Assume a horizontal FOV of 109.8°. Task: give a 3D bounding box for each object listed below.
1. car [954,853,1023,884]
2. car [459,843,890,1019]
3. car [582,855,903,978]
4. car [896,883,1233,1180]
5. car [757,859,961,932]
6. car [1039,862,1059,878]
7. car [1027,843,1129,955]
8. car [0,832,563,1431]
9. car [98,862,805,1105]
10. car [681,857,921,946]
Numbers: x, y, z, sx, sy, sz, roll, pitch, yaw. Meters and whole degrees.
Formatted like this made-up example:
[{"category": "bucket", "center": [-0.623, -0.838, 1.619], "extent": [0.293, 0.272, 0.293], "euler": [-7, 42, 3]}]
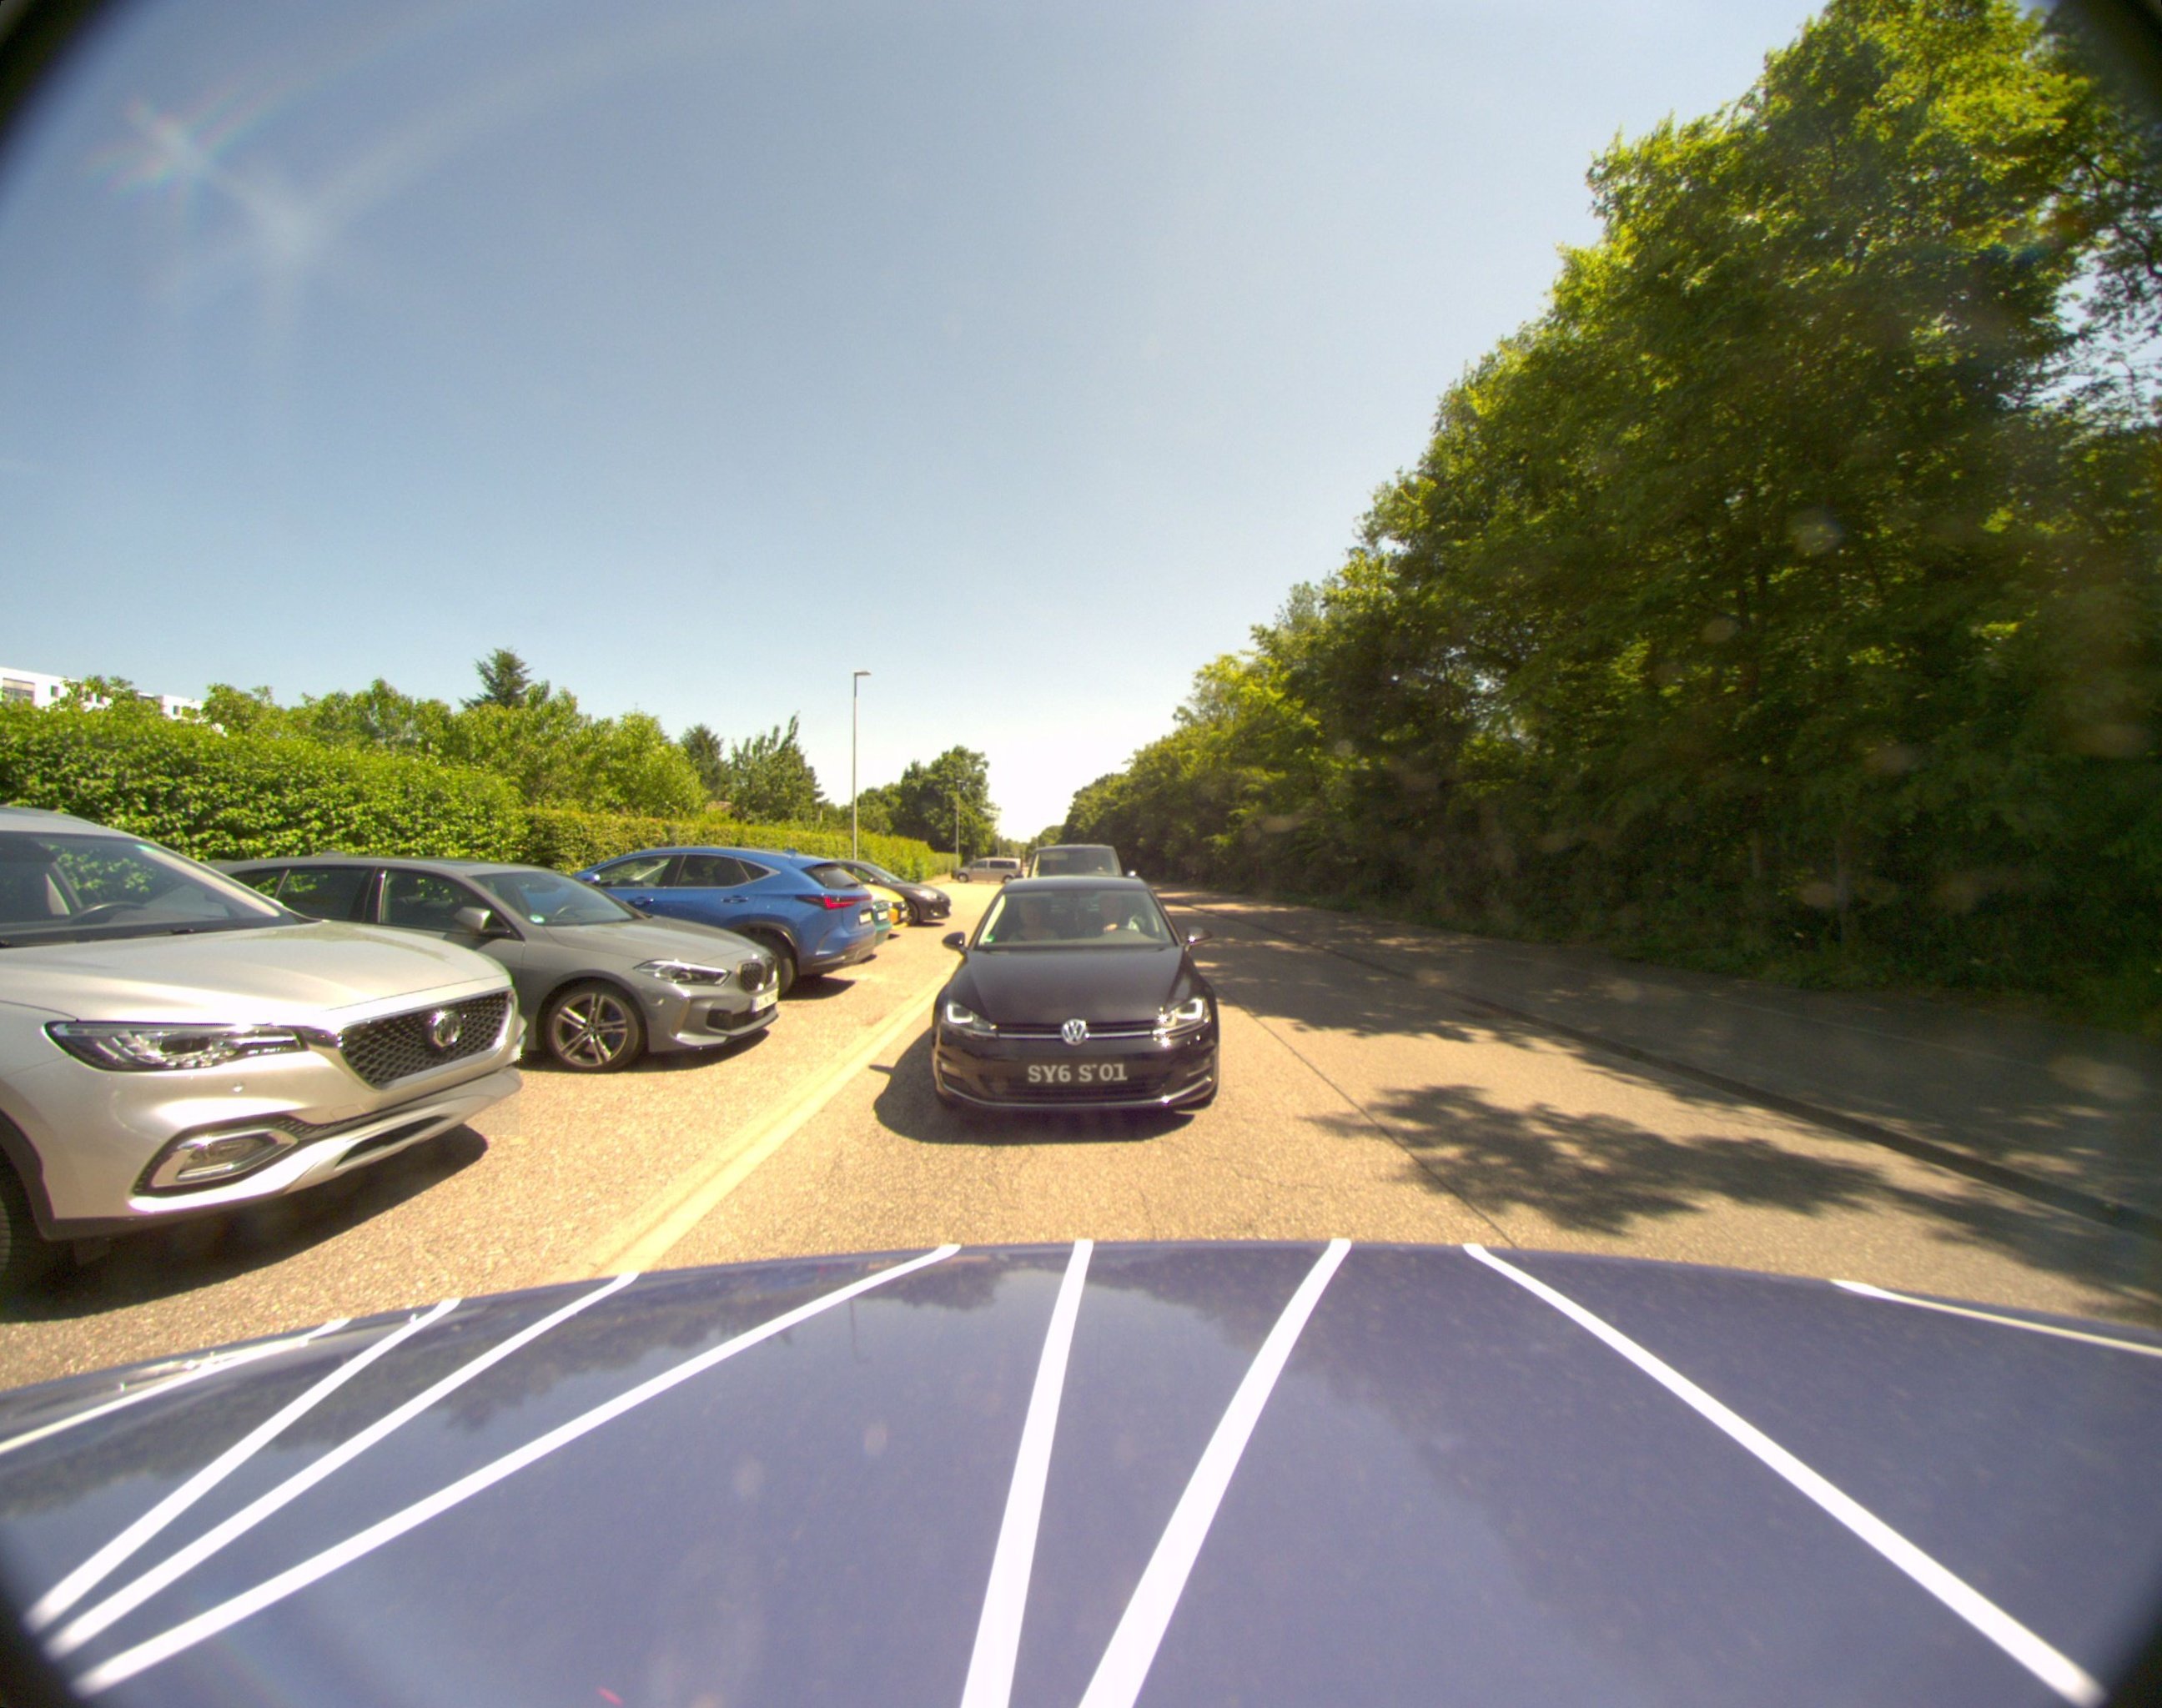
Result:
[{"category": "car", "center": [-6.228, 0.987, 51.496], "extent": [4.493, 1.840, 1.695], "euler": [3, 0, -4]}, {"category": "car", "center": [-4.489, 0.812, 8.828], "extent": [4.036, 1.632, 1.674], "euler": [3, 0, 0]}, {"category": "car", "center": [-4.950, 0.872, 11.486], "extent": [4.036, 1.505, 1.649], "euler": [3, 0, 0]}, {"category": "car", "center": [-0.099, 1.008, 6.164], "extent": [1.743, 1.396, 4.388], "euler": [-1, 0, 0]}, {"category": "car", "center": [-5.111, 0.939, 17.885], "extent": [4.251, 1.410, 1.649], "euler": [3, 0, 0]}, {"category": "car", "center": [-3.025, 1.436, 71.058], "extent": [1.744, 1.396, 4.386], "euler": [1, 0, -4]}, {"category": "car", "center": [-0.067, 0.792, 15.321], "extent": [1.743, 1.904, 4.388], "euler": [-1, 0, 0]}, {"category": "car", "center": [-4.804, 0.743, 3.018], "extent": [4.170, 1.632, 1.775], "euler": [3, 0, -2]}, {"category": "car", "center": [-4.517, 0.884, 5.928], "extent": [4.036, 1.401, 1.679], "euler": [3, 0, -1]}, {"category": "car", "center": [-5.395, 0.894, 14.976], "extent": [4.036, 1.438, 1.649], "euler": [3, 0, 0]}]
